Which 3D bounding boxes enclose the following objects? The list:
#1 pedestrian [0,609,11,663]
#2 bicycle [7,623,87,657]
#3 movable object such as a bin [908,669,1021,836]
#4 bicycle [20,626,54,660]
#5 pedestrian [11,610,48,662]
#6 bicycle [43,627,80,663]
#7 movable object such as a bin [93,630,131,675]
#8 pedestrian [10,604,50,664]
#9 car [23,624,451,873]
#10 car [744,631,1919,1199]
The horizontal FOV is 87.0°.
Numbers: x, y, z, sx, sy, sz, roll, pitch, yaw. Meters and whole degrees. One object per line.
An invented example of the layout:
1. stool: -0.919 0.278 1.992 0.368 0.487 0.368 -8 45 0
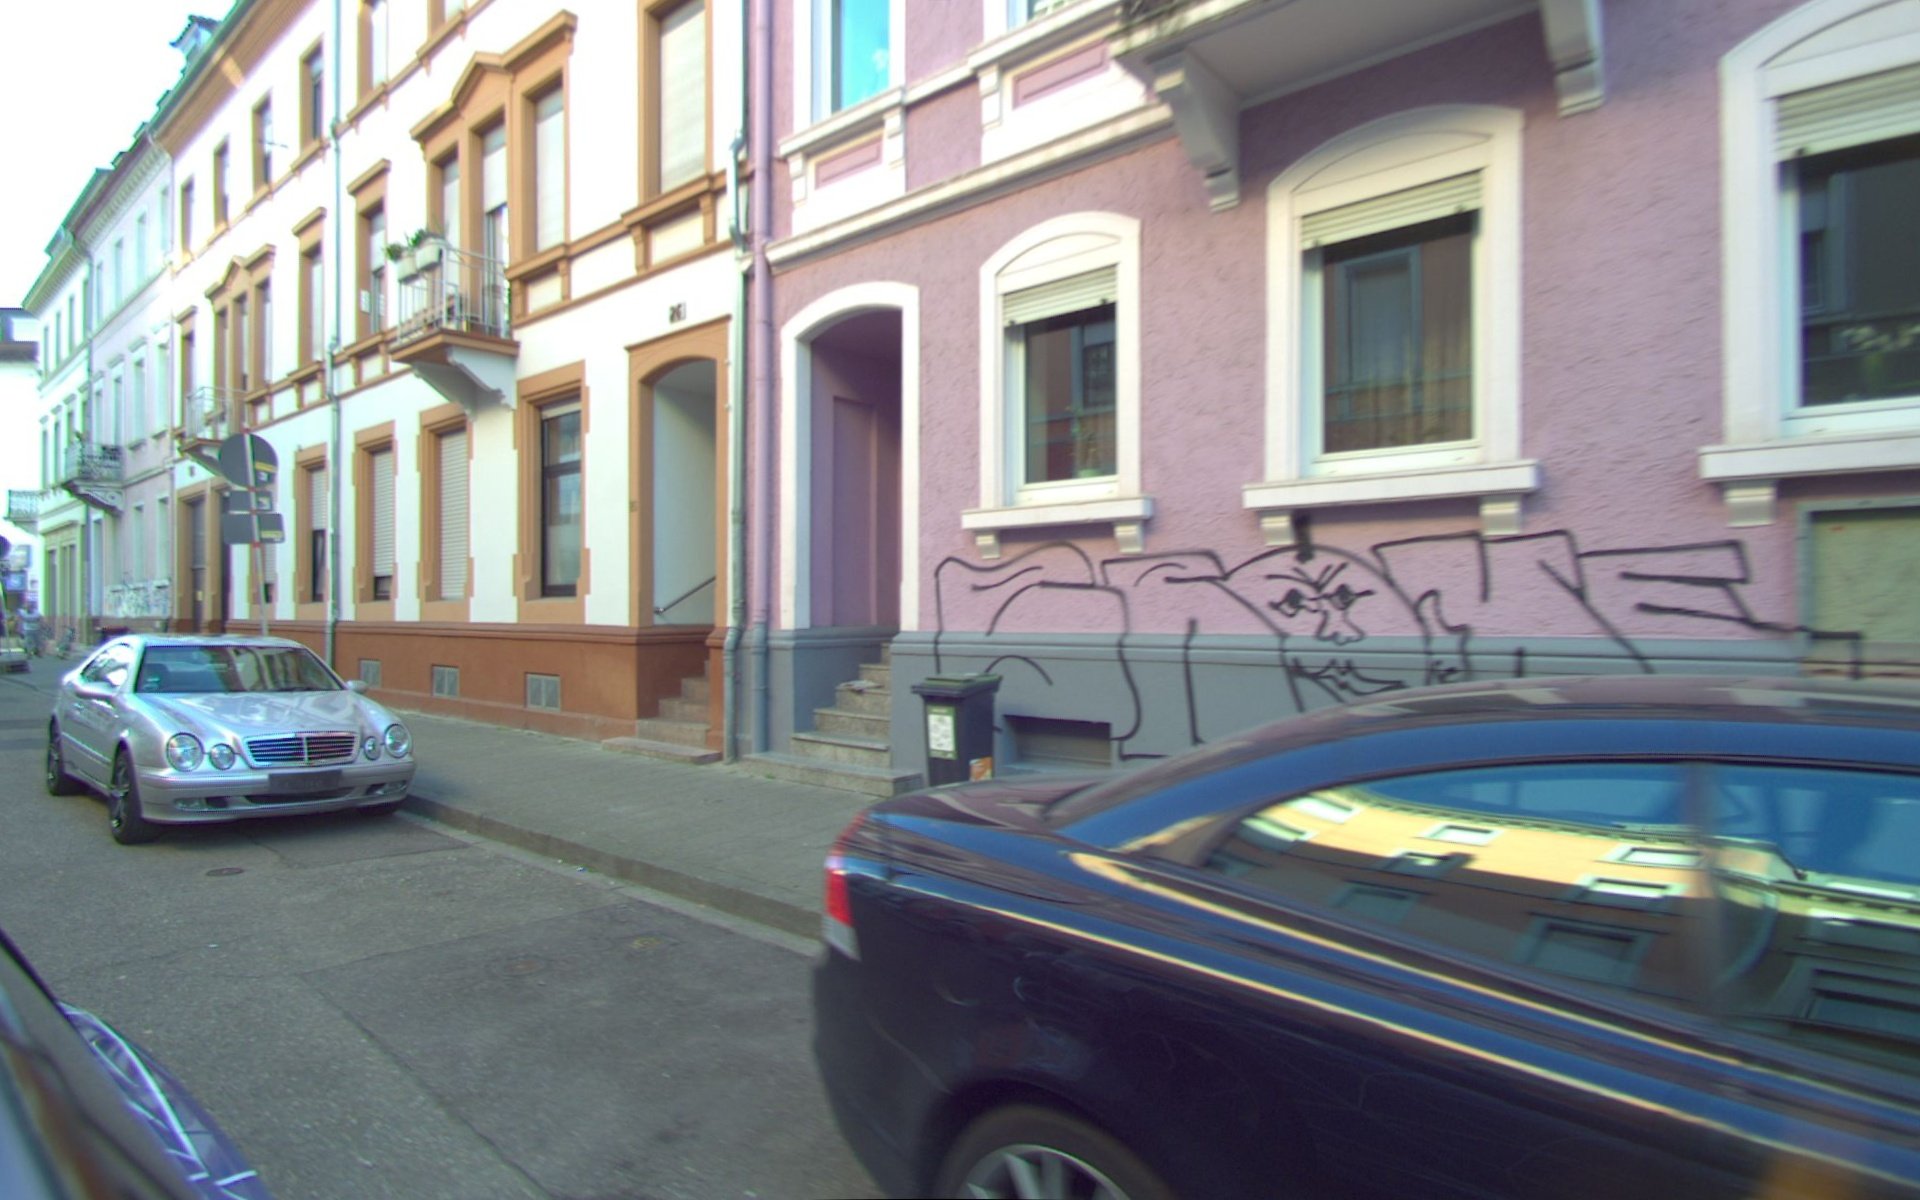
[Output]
1. pedestrian: -32.640 1.203 33.982 0.987 1.806 0.819 0 -3 32
2. bicycle: -38.716 1.691 42.943 0.928 1.369 2.450 -1 -1 41
3. movable object such as a bin: 0.030 0.945 6.468 0.487 0.952 0.538 -1 0 41
4. bicycle: -30.660 1.421 33.600 1.817 1.030 0.597 0 3 41
5. pedestrian: -34.195 1.297 37.179 0.776 1.863 0.765 -1 0 25
6. bicycle: -27.174 1.349 30.596 1.817 1.030 0.615 -1 0 41
7. movable object such as a bin: -20.680 1.274 24.682 0.596 1.043 0.599 -1 0 39
8. pedestrian: -27.642 1.019 30.075 0.864 1.714 0.686 -4 1 41
9. car: -5.885 0.936 8.002 4.503 1.394 1.693 0 -3 41
10. car: 1.683 0.748 1.390 4.355 1.394 1.692 -2 -2 43
